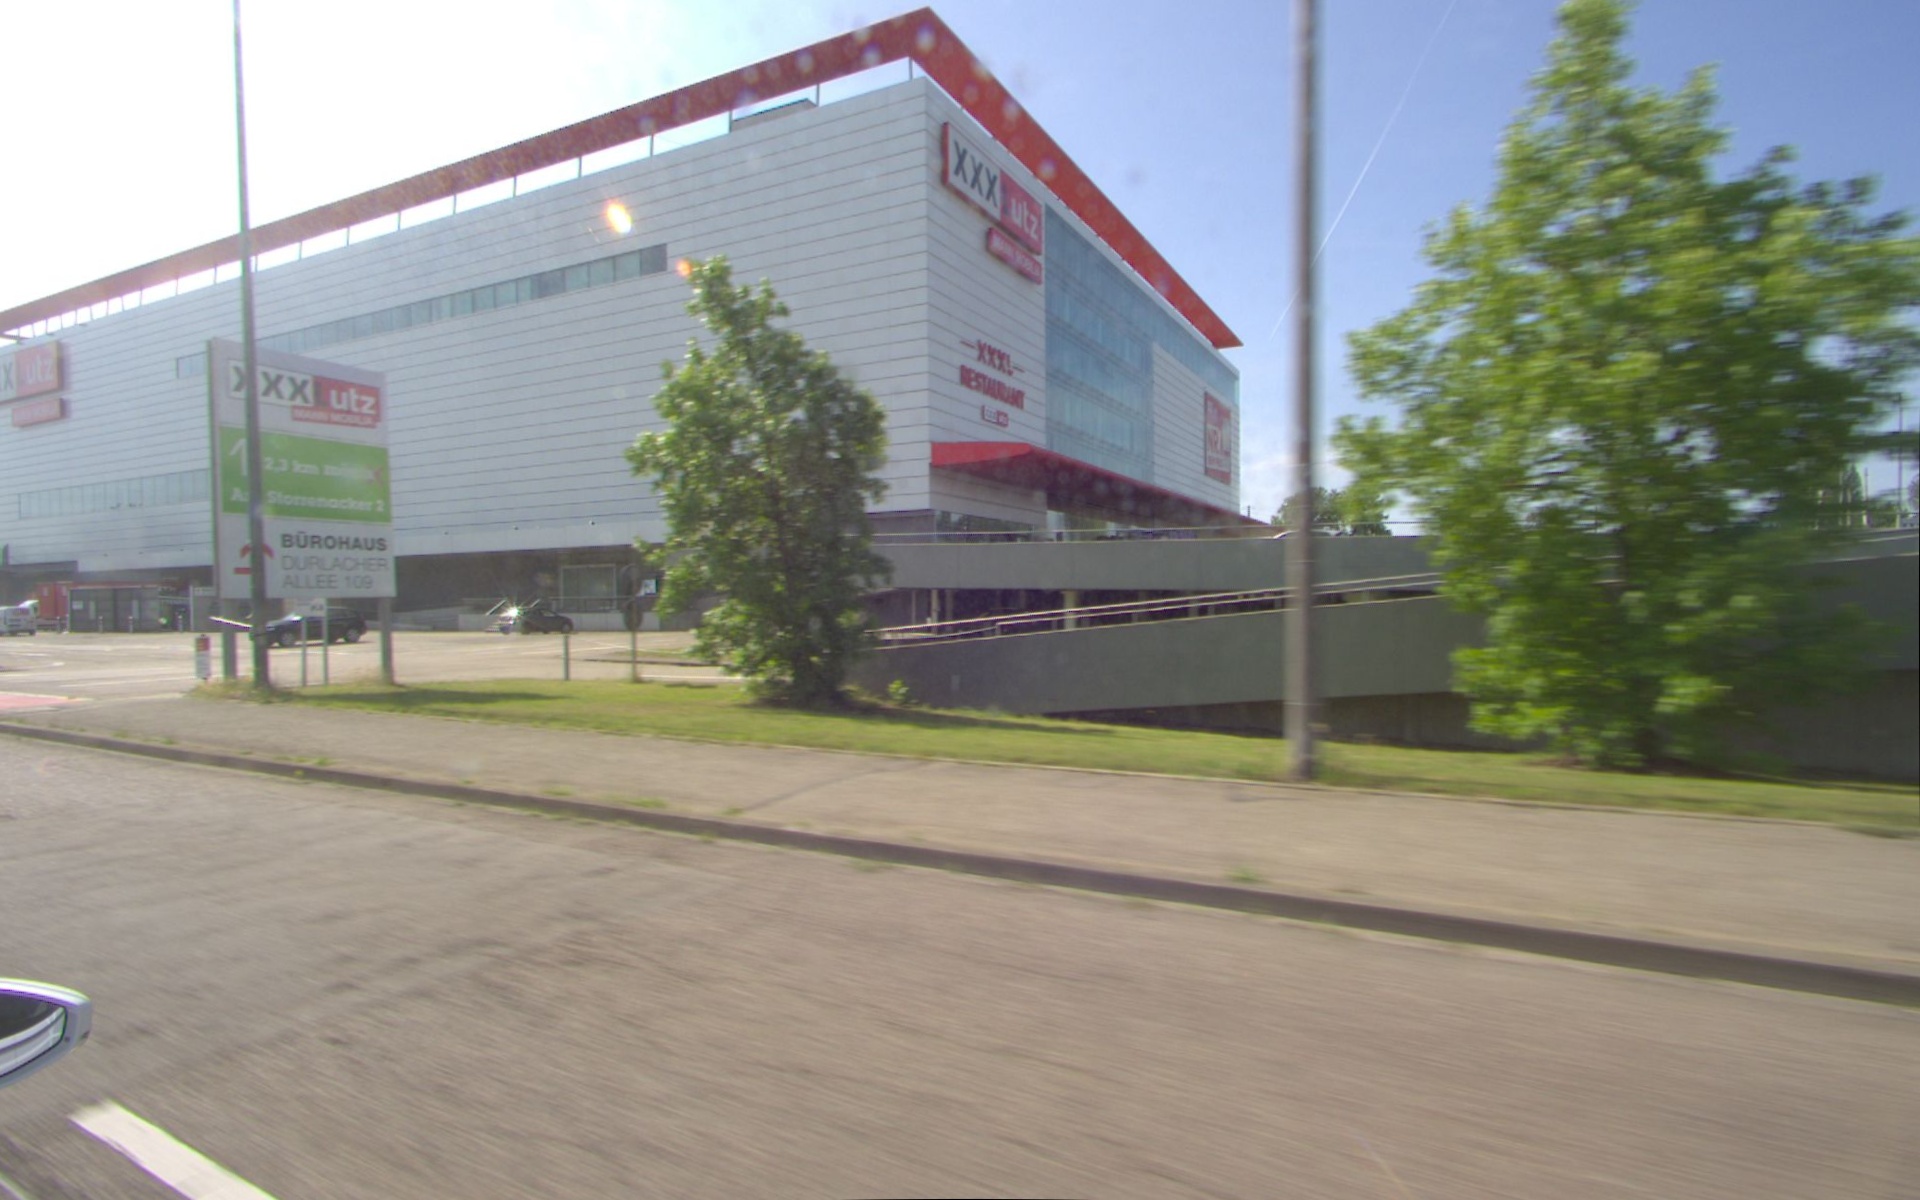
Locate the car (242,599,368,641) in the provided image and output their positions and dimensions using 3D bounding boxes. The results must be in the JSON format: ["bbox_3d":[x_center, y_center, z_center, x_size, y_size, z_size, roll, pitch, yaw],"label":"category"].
[{"bbox_3d":[-29.265,0.849,44.884,1.808,1.636,4.419,1,2,26],"label":"car"}]

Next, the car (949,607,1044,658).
[{"bbox_3d":[1.312,1.091,34.415,1.724,1.648,4.151,0,-1,26],"label":"car"}]

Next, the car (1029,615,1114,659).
[{"bbox_3d":[3.829,1.235,33.947,1.661,1.405,3.872,0,-1,26],"label":"car"}]

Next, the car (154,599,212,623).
[{"bbox_3d":[-51.438,0.739,66.257,4.032,1.529,1.670,0,0,30],"label":"car"}]

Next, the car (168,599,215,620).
[{"bbox_3d":[-53.826,0.656,70.127,3.205,1.487,1.509,0,0,30],"label":"car"}]

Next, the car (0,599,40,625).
[{"bbox_3d":[-66.160,0.825,69.999,4.032,1.775,1.670,0,0,30],"label":"car"}]

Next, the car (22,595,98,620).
[{"bbox_3d":[-72.056,0.573,80.213,1.749,1.954,4.183,0,0,29],"label":"car"}]

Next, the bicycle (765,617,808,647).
[{"bbox_3d":[-6.575,1.193,37.850,1.682,1.074,0.511,1,1,30],"label":"bicycle"}]

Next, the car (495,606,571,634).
[{"bbox_3d":[-22.677,1.081,53.304,1.578,1.394,3.516,0,-1,26],"label":"car"}]
